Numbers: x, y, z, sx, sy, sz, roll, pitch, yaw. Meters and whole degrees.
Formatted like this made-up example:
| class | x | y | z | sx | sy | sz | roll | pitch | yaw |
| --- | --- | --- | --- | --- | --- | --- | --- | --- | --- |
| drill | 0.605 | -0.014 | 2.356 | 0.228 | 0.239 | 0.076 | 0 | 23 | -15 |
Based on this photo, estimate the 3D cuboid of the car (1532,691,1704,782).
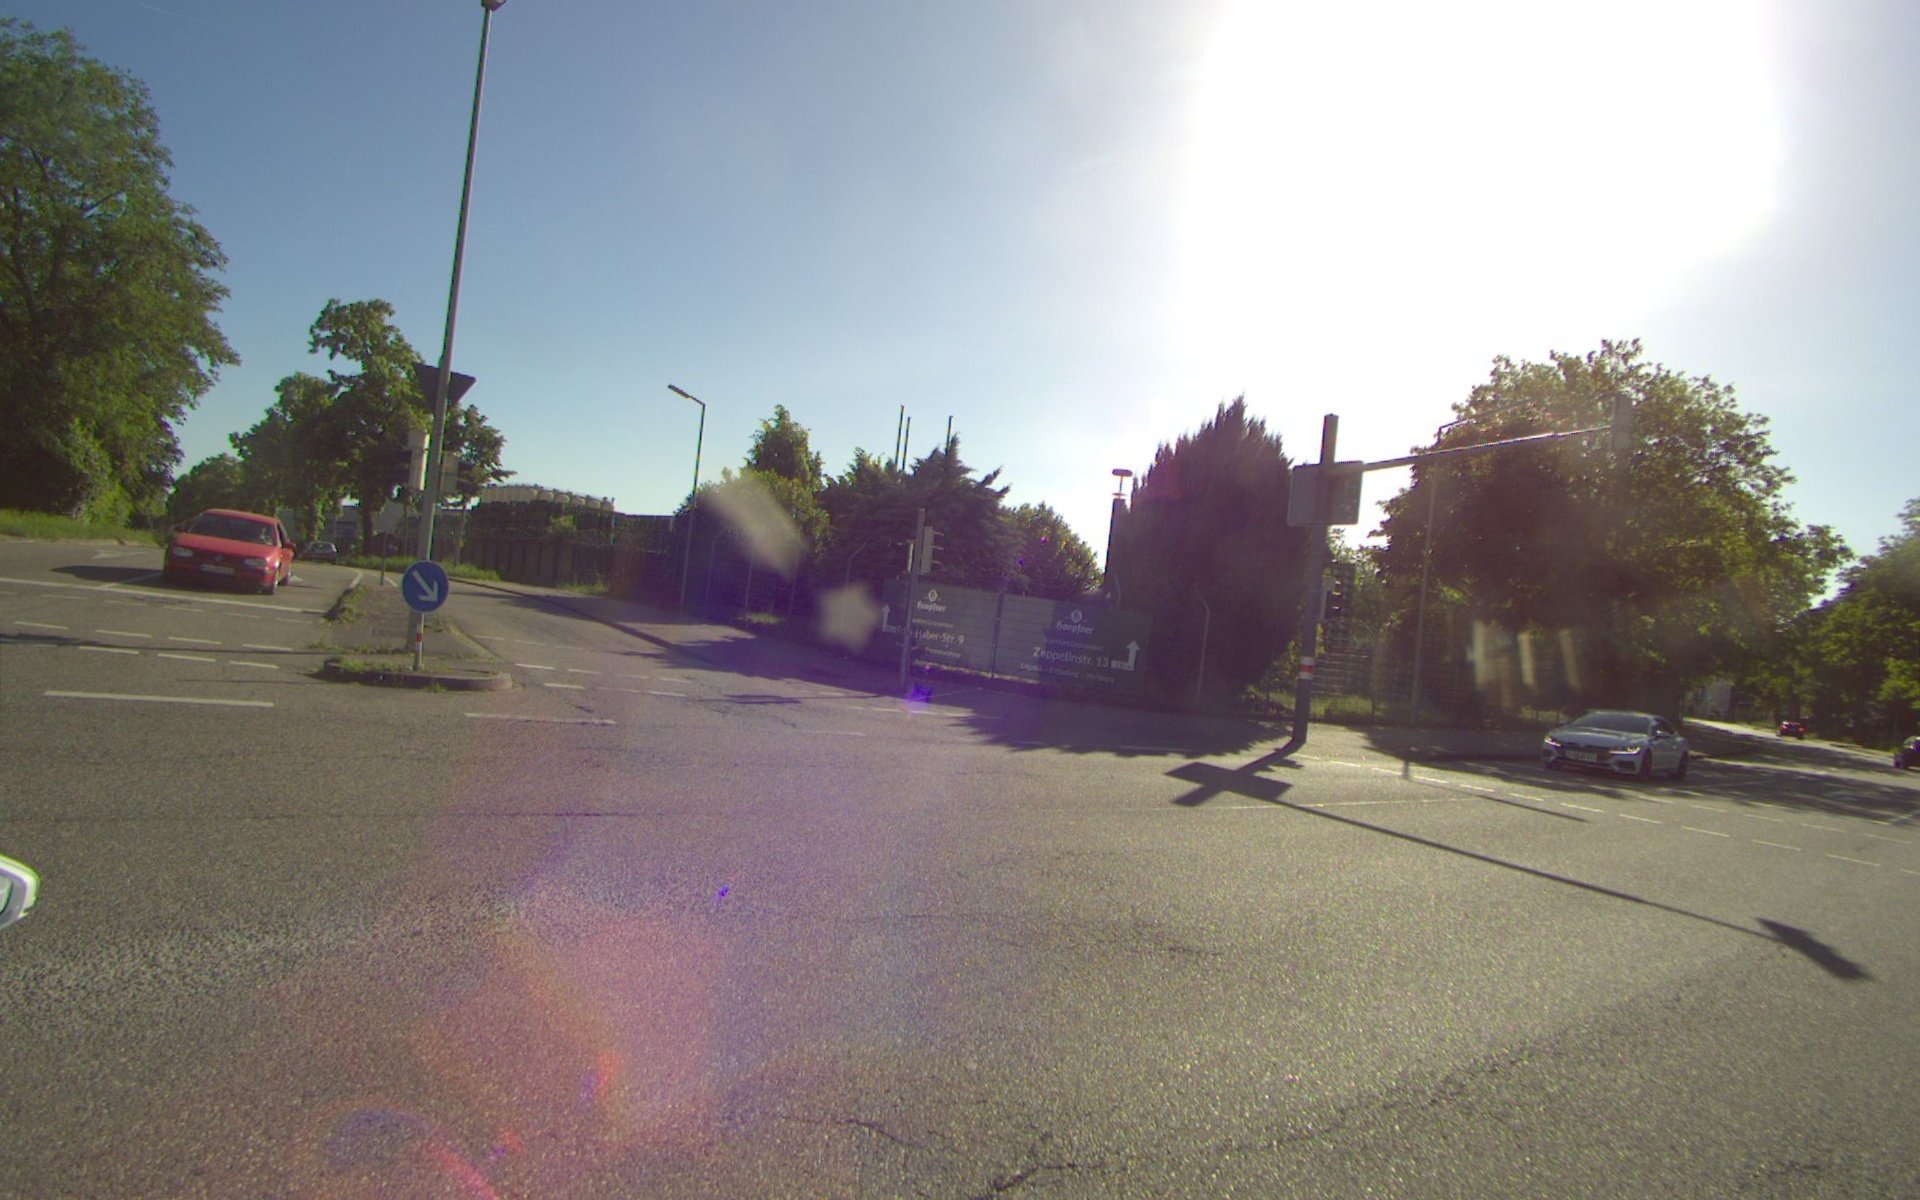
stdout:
| class | x | y | z | sx | sy | sz | roll | pitch | yaw |
| --- | --- | --- | --- | --- | --- | --- | --- | --- | --- |
| car | 14.256 | 2.945 | 21.698 | 4.481 | 1.550 | 1.791 | 7 | -1 | -40 |

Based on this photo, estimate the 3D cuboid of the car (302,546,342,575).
| class | x | y | z | sx | sy | sz | roll | pitch | yaw |
| --- | --- | --- | --- | --- | --- | --- | --- | --- | --- |
| car | -42.504 | -2.651 | 67.032 | 1.682 | 1.652 | 3.095 | 7 | -1 | -41 |

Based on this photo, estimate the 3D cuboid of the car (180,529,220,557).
| class | x | y | z | sx | sy | sz | roll | pitch | yaw |
| --- | --- | --- | --- | --- | --- | --- | --- | --- | --- |
| car | -48.330 | -3.607 | 63.954 | 1.849 | 1.487 | 4.095 | 7 | -1 | -38 |

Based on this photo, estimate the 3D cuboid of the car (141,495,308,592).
| class | x | y | z | sx | sy | sz | roll | pitch | yaw |
| --- | --- | --- | --- | --- | --- | --- | --- | --- | --- |
| car | -14.299 | -1.149 | 19.821 | 1.841 | 1.488 | 4.109 | 7 | 2 | -26 |
